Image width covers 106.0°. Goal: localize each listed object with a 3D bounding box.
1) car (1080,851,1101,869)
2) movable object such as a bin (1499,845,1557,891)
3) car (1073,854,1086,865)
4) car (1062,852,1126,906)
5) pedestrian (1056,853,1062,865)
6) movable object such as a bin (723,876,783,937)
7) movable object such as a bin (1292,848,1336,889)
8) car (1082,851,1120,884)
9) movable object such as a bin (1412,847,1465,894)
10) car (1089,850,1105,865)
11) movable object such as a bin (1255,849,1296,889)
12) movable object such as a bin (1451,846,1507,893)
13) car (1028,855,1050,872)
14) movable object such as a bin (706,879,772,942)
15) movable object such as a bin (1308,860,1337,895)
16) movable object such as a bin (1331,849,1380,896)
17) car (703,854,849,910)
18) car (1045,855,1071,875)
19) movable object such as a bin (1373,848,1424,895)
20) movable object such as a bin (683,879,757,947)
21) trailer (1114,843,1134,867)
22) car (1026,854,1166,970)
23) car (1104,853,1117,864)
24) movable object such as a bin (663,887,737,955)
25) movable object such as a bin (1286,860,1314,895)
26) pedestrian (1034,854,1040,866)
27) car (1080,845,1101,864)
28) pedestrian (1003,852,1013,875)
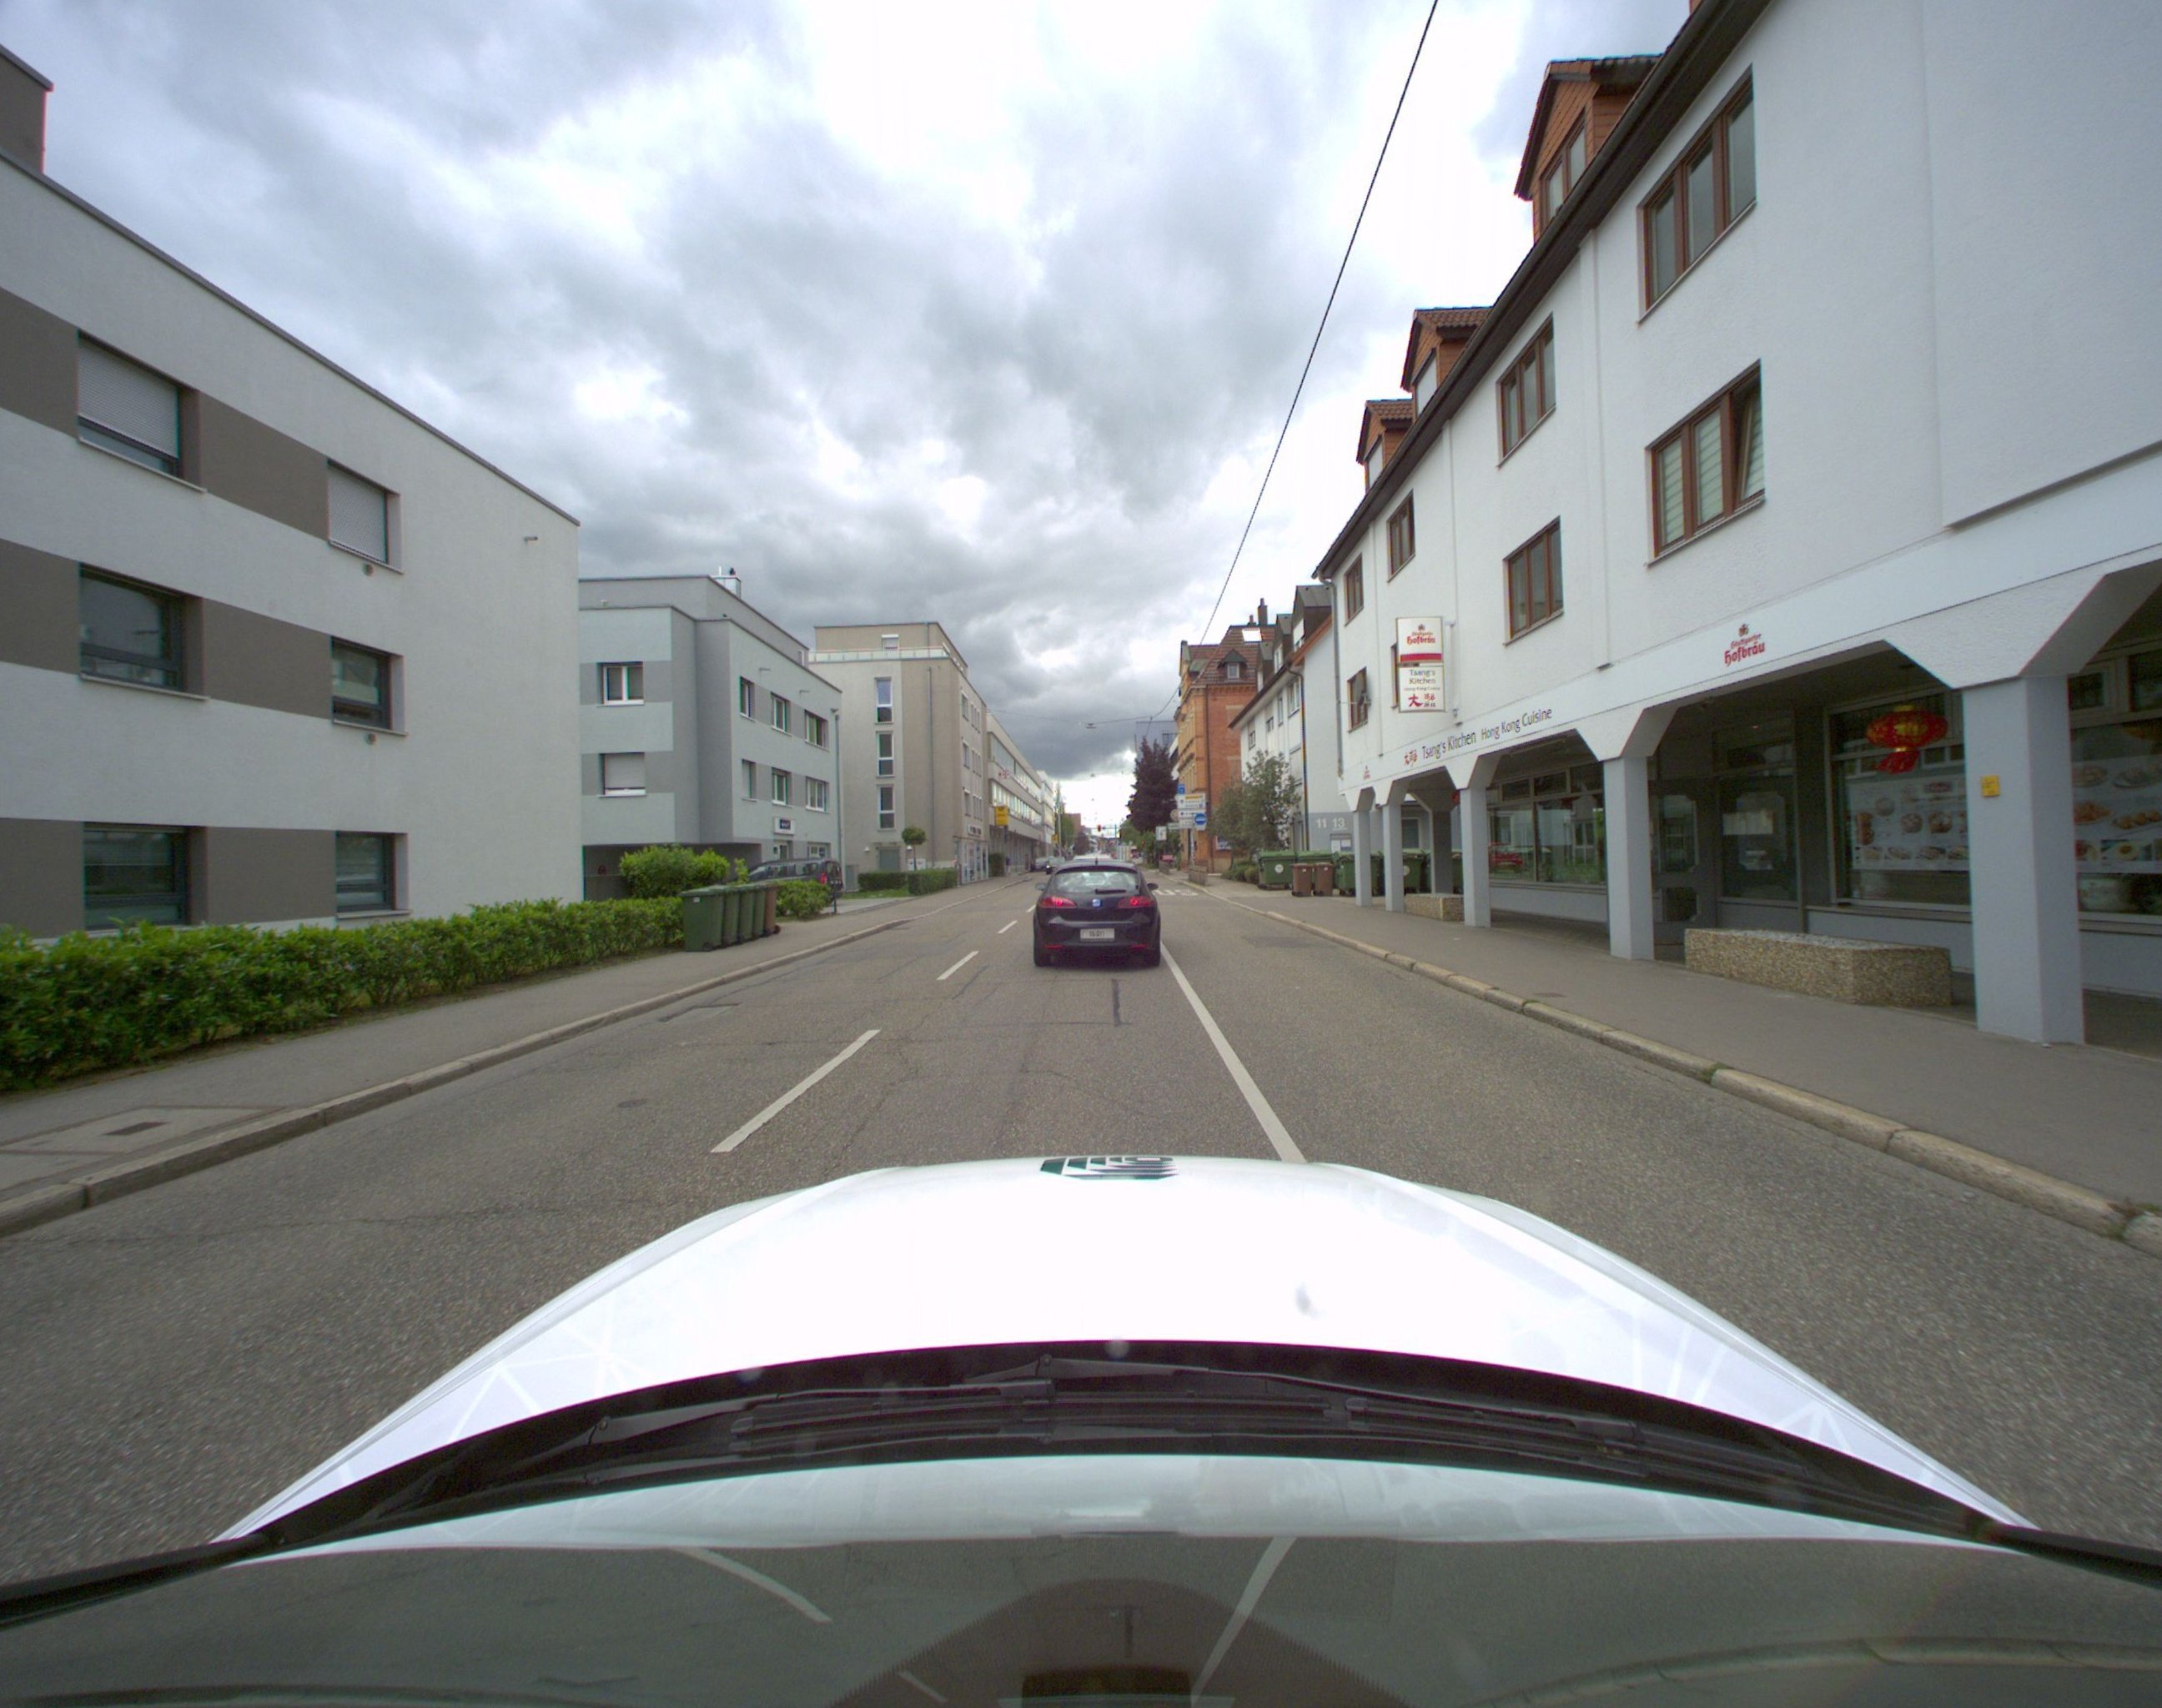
[{"bbox_3d":[0.873,0.522,73.146,1.797,1.601,3.738,-1,0,1],"label":"car"},{"bbox_3d":[14.135,0.432,25.791,1.203,1.417,1.261,-2,0,5],"label":"movable object such as a bin"},{"bbox_3d":[-0.264,0.873,139.618,1.987,1.738,4.554,-4,0,1],"label":"car"},{"bbox_3d":[0.407,0.720,25.266,1.797,1.492,3.738,-2,0,1],"label":"car"},{"bbox_3d":[-3.519,0.819,132.231,0.915,1.869,0.783,-2,0,0],"label":"pedestrian"},{"bbox_3d":[-6.637,1.051,16.499,0.938,1.151,0.612,-2,0,-3],"label":"movable object such as a bin"},{"bbox_3d":[8.580,0.515,30.028,1.262,1.435,1.308,-2,0,2],"label":"movable object such as a bin"},{"bbox_3d":[0.979,0.636,40.994,1.797,1.553,3.738,-2,0,1],"label":"car"},{"bbox_3d":[11.368,0.507,25.940,1.203,1.417,1.261,-2,0,5],"label":"movable object such as a bin"},{"bbox_3d":[1.823,0.376,93.177,1.797,1.601,3.738,-1,0,1],"label":"car"},{"bbox_3d":[7.242,0.558,30.365,1.262,1.417,1.163,-2,0,2],"label":"movable object such as a bin"},{"bbox_3d":[12.659,0.475,25.929,1.203,1.417,1.261,-2,0,5],"label":"movable object such as a bin"},{"bbox_3d":[-4.228,0.955,82.828,1.906,1.517,4.175,-3,0,1],"label":"car"},{"bbox_3d":[-6.615,1.083,15.794,0.946,1.151,0.748,-2,0,-3],"label":"movable object such as a bin"},{"bbox_3d":[7.828,0.758,26.402,0.694,1.079,0.973,-2,0,5],"label":"movable object such as a bin"},{"bbox_3d":[8.760,0.574,26.036,1.203,1.417,1.261,-2,0,5],"label":"movable object such as a bin"},{"bbox_3d":[-10.124,0.909,27.197,4.144,1.667,1.727,-2,-1,4],"label":"car"},{"bbox_3d":[-1.904,0.922,69.329,1.872,1.451,4.215,-4,0,1],"label":"car"},{"bbox_3d":[10.117,0.538,25.994,1.203,1.417,1.261,-2,0,5],"label":"movable object such as a bin"},{"bbox_3d":[-6.610,1.061,14.955,0.954,1.151,0.839,-2,0,-3],"label":"movable object such as a bin"},{"bbox_3d":[4.983,0.143,94.615,1.986,2.607,5.350,-2,0,1],"label":"trailer"},{"bbox_3d":[0.250,0.744,12.344,1.759,1.433,3.830,-2,0,2],"label":"car"},{"bbox_3d":[4.298,0.605,119.894,1.797,1.601,3.738,-1,0,1],"label":"car"},{"bbox_3d":[-6.581,1.140,14.103,0.892,1.089,0.792,-2,0,-3],"label":"movable object such as a bin"},{"bbox_3d":[7.102,0.759,26.442,0.680,1.067,0.973,-2,0,5],"label":"movable object such as a bin"},{"bbox_3d":[-6.010,0.794,110.982,0.653,1.623,0.681,-2,0,2],"label":"pedestrian"},{"bbox_3d":[0.877,0.041,73.060,1.797,1.553,3.738,-2,0,1],"label":"car"},{"bbox_3d":[-5.762,0.726,64.408,0.641,1.769,0.809,-1,0,-1],"label":"pedestrian"}]
